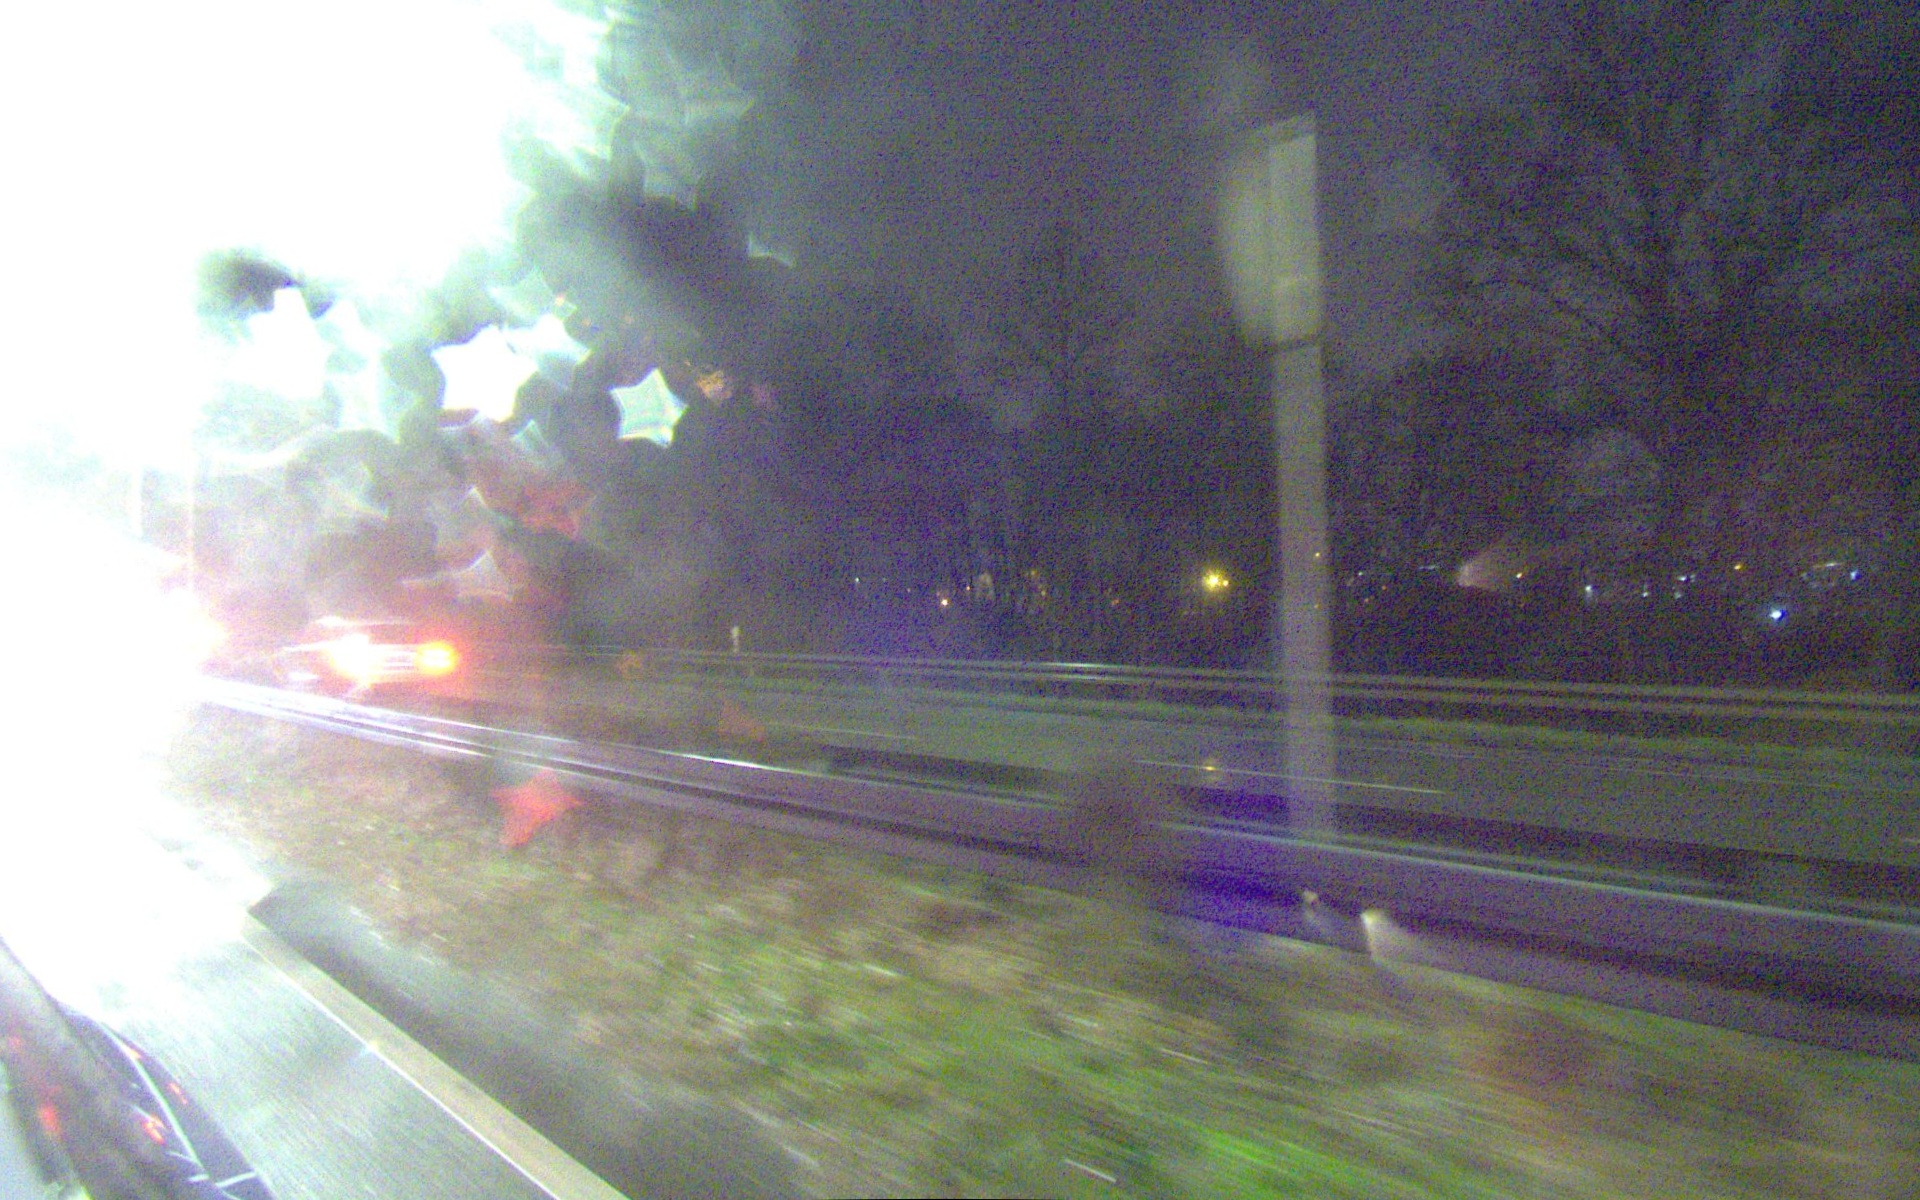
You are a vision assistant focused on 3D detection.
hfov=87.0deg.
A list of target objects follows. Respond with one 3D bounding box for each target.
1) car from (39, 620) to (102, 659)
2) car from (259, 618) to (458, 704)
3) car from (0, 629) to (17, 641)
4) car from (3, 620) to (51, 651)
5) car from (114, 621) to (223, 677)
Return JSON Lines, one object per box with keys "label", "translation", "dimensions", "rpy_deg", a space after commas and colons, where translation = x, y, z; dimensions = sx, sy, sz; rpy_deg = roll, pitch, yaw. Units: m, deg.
{"label": "car", "translation": [-37.787, 1.679, 42.963], "dimensions": [4.161, 1.554, 1.550], "rpy_deg": [-1, -4, 43]}
{"label": "car", "translation": [-11.105, 1.098, 18.558], "dimensions": [4.459, 1.405, 1.797], "rpy_deg": [-2, -5, 42]}
{"label": "car", "translation": [-115.095, 4.172, 122.090], "dimensions": [4.163, 1.392, 1.593], "rpy_deg": [-2, -3, 43]}
{"label": "car", "translation": [-52.928, 1.997, 57.393], "dimensions": [3.999, 1.663, 1.603], "rpy_deg": [-1, -2, 42]}
{"label": "car", "translation": [-24.368, 1.503, 31.123], "dimensions": [3.997, 1.581, 1.790], "rpy_deg": [-2, -5, 40]}
